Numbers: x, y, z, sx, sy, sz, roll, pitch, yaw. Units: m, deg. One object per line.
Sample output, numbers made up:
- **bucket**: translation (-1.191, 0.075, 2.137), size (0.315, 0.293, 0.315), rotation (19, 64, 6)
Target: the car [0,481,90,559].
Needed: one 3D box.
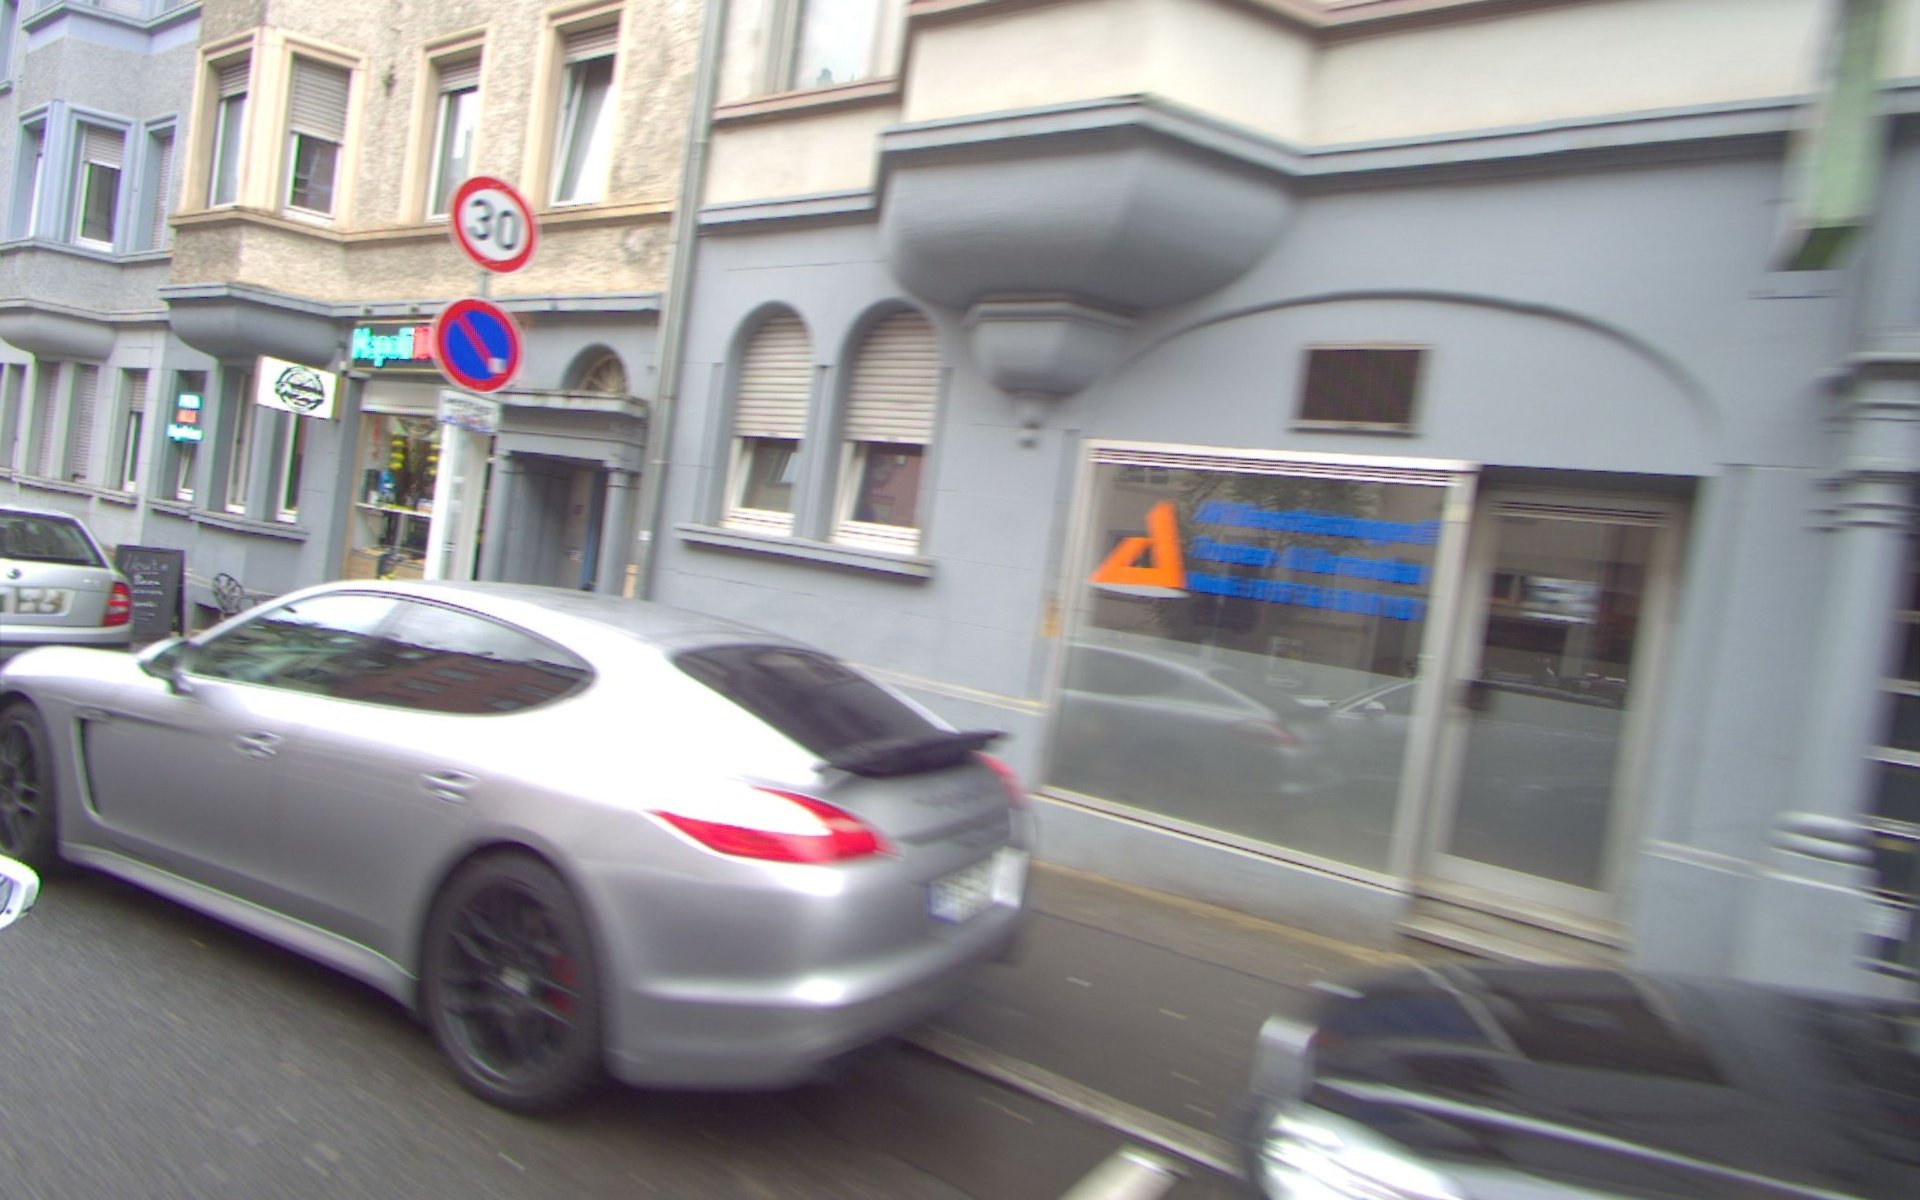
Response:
- **car**: translation (-24.540, -2.185, 24.949), size (1.644, 1.661, 4.277), rotation (9, 1, 44)

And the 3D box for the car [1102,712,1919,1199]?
- **car**: translation (2.457, 1.173, 1.305), size (4.205, 1.391, 1.680), rotation (7, -1, 32)

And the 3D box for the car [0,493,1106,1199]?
- **car**: translation (-2.000, 0.574, 4.175), size (4.690, 1.484, 1.881), rotation (7, -2, 26)

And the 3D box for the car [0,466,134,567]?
- **car**: translation (-20.954, -1.978, 22.012), size (4.309, 1.827, 1.983), rotation (8, 1, -41)

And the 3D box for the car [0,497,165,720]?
- **car**: translation (-8.079, -0.128, 7.824), size (3.949, 1.492, 1.614), rotation (7, -1, 32)

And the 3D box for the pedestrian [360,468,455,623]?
- **pedestrian**: translation (-6.244, -0.601, 11.379), size (0.655, 1.641, 0.485), rotation (6, 1, 2)

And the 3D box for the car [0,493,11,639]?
- **car**: translation (-12.285, -0.601, 10.849), size (4.720, 1.498, 1.899), rotation (7, 3, 33)

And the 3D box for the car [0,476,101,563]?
- **car**: translation (-23.029, -2.079, 23.453), size (1.883, 1.748, 4.316), rotation (9, 1, 44)

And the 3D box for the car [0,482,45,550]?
- **car**: translation (-27.144, -2.494, 26.532), size (1.644, 1.661, 4.277), rotation (9, 1, 44)
